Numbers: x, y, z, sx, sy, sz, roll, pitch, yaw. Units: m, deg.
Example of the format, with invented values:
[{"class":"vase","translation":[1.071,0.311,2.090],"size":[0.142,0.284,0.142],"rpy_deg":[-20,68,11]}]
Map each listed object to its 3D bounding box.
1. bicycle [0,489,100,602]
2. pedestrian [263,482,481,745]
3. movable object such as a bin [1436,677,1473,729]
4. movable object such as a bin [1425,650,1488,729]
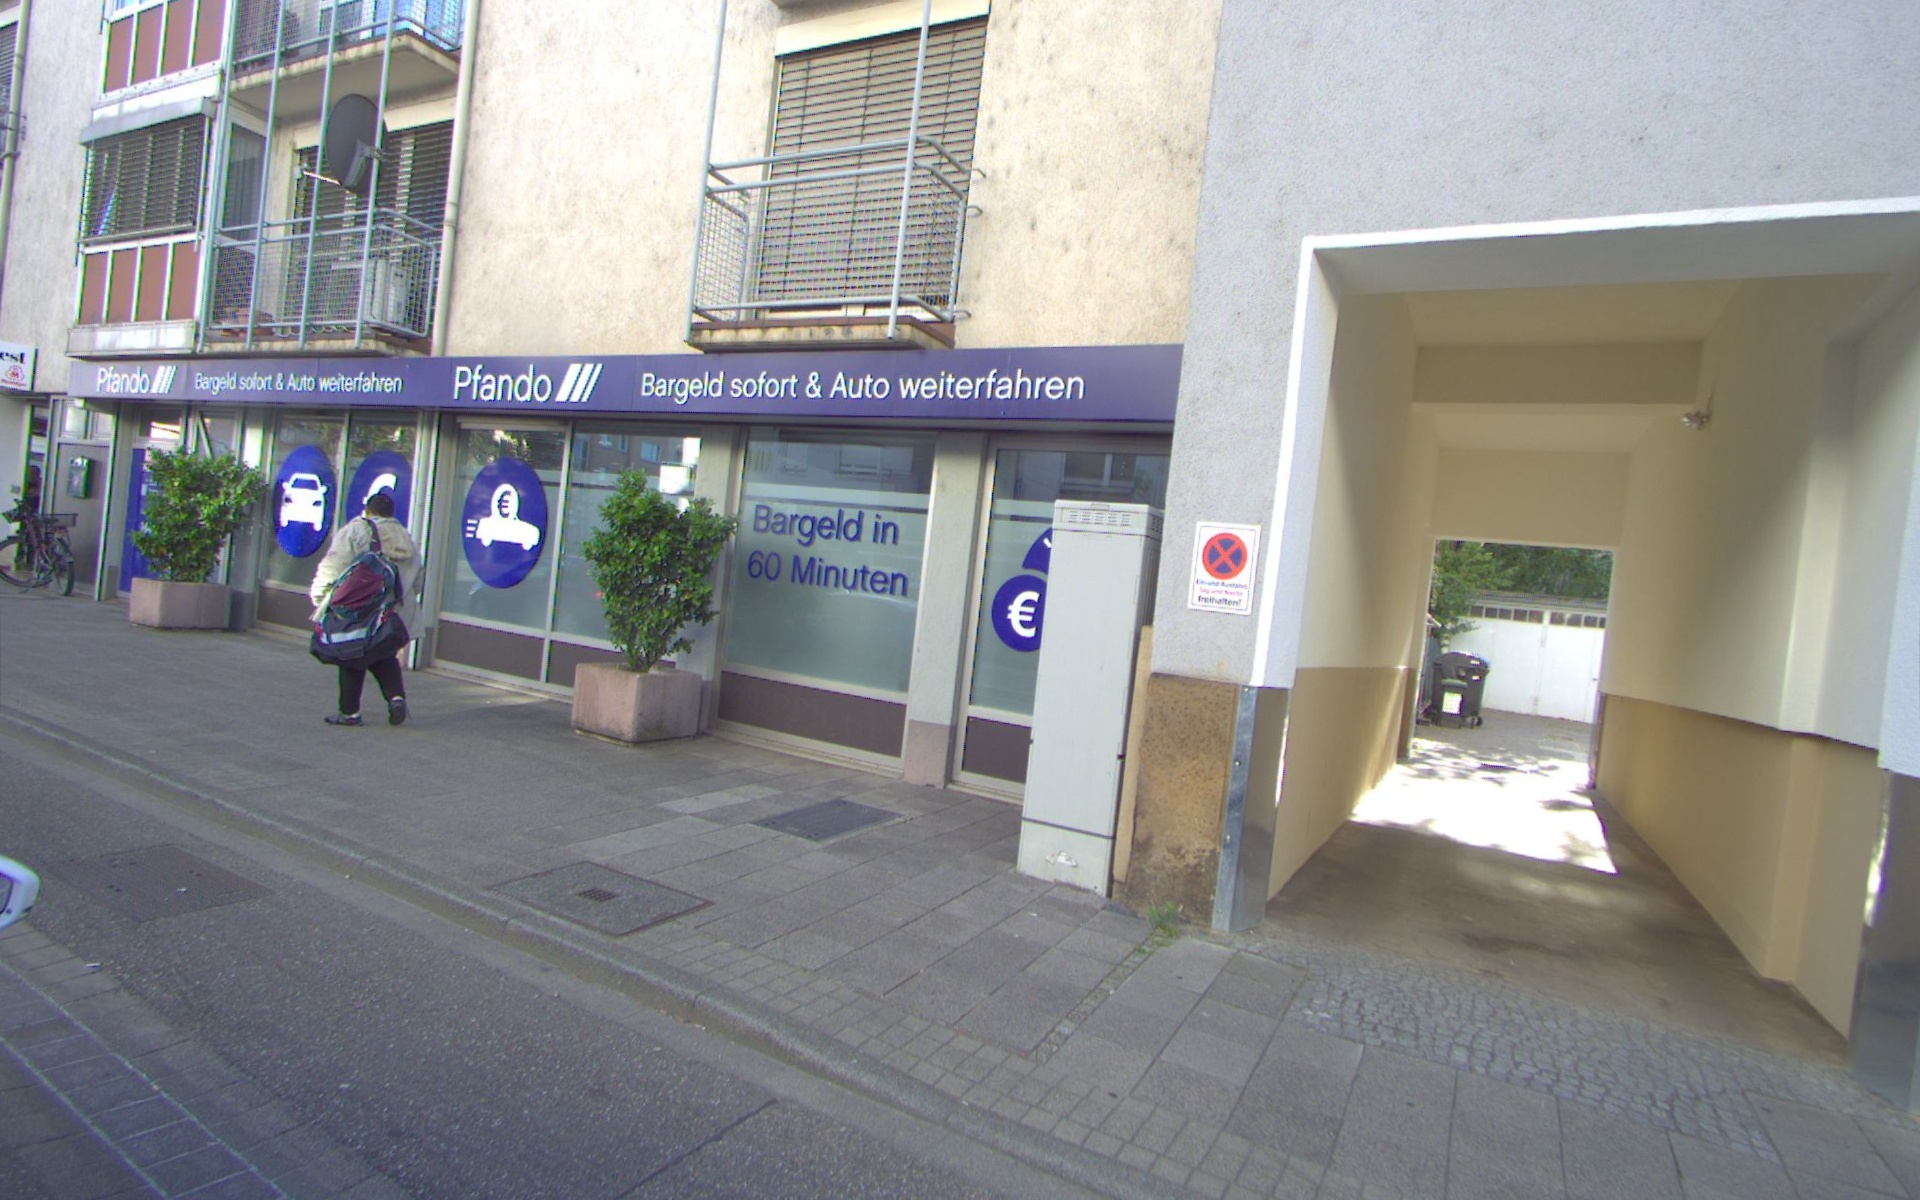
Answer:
[{"class":"bicycle","translation":[-11.841,-0.726,12.881],"size":[1.879,1.280,0.640],"rpy_deg":[7,1,32]},{"class":"pedestrian","translation":[-3.978,0.077,6.830],"size":[0.853,1.593,0.874],"rpy_deg":[8,3,29]},{"class":"movable object such as a bin","translation":[9.562,1.985,19.458],"size":[0.518,0.922,0.580],"rpy_deg":[7,1,29]},{"class":"movable object such as a bin","translation":[10.114,1.792,20.461],"size":[0.945,1.426,1.598],"rpy_deg":[7,1,29]}]
